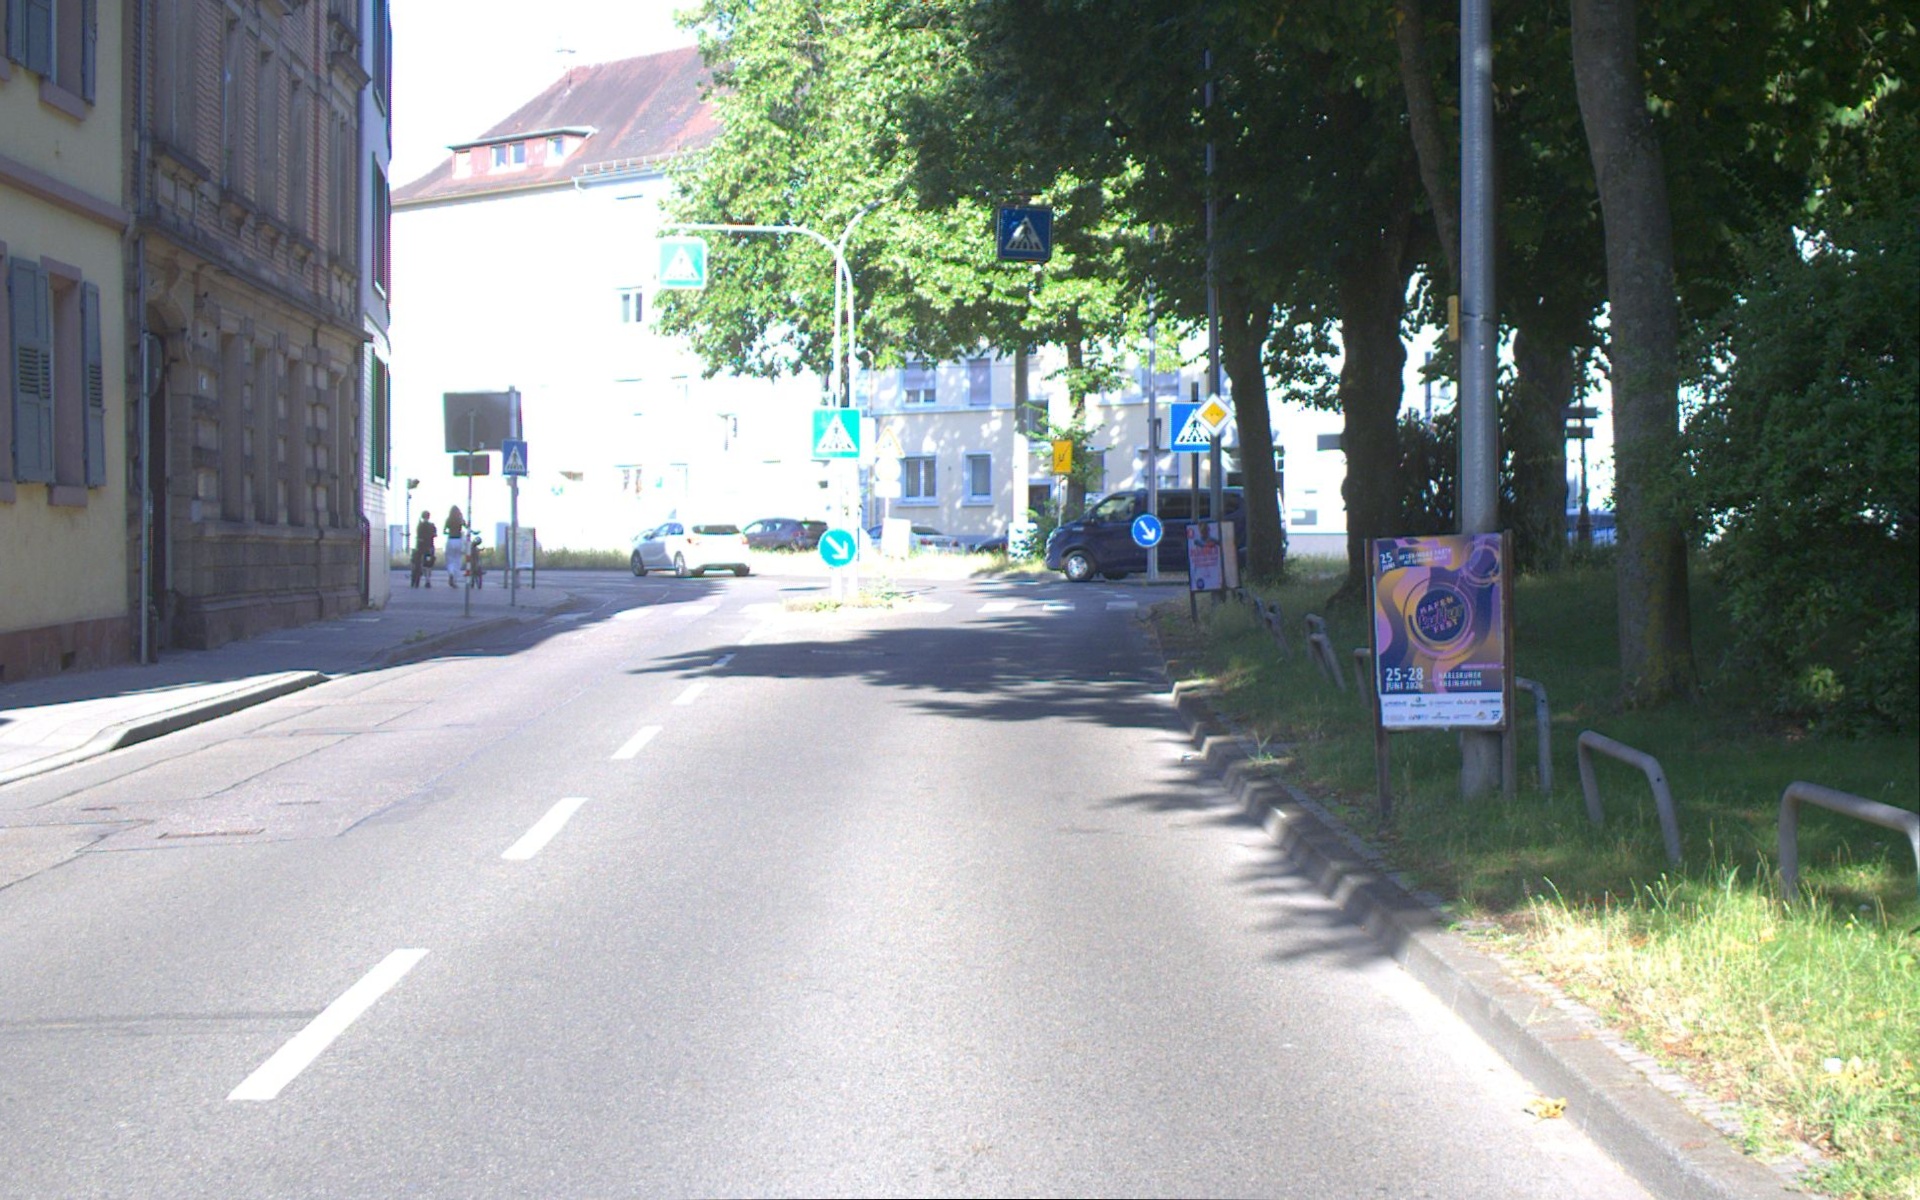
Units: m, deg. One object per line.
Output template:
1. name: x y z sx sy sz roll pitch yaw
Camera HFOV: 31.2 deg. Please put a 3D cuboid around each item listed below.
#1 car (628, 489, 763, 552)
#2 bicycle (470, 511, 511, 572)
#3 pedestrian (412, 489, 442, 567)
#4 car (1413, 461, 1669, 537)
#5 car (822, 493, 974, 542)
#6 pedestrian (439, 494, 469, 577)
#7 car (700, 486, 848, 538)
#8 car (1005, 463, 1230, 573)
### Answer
1. car: -6.519 -1.971 84.369 1.958 1.500 3.686 -2 2 -28
2. bicycle: -9.551 -1.199 69.934 0.440 1.174 1.967 1 2 -18
3. pedestrian: -10.697 -1.455 69.019 0.474 1.559 0.603 -1 2 -20
4. car: 11.676 -2.053 69.143 4.763 1.458 1.852 1 2 25
5. car: -1.866 -2.465 102.573 1.995 1.381 4.444 -2 3 -45
6. pedestrian: -10.177 -1.308 69.182 0.474 1.641 0.603 -1 3 -19
7. car: -5.791 -2.729 106.699 1.995 1.566 4.638 -2 2 -45
8. car: 3.024 -1.571 65.717 3.989 2.007 1.999 1 1 12
